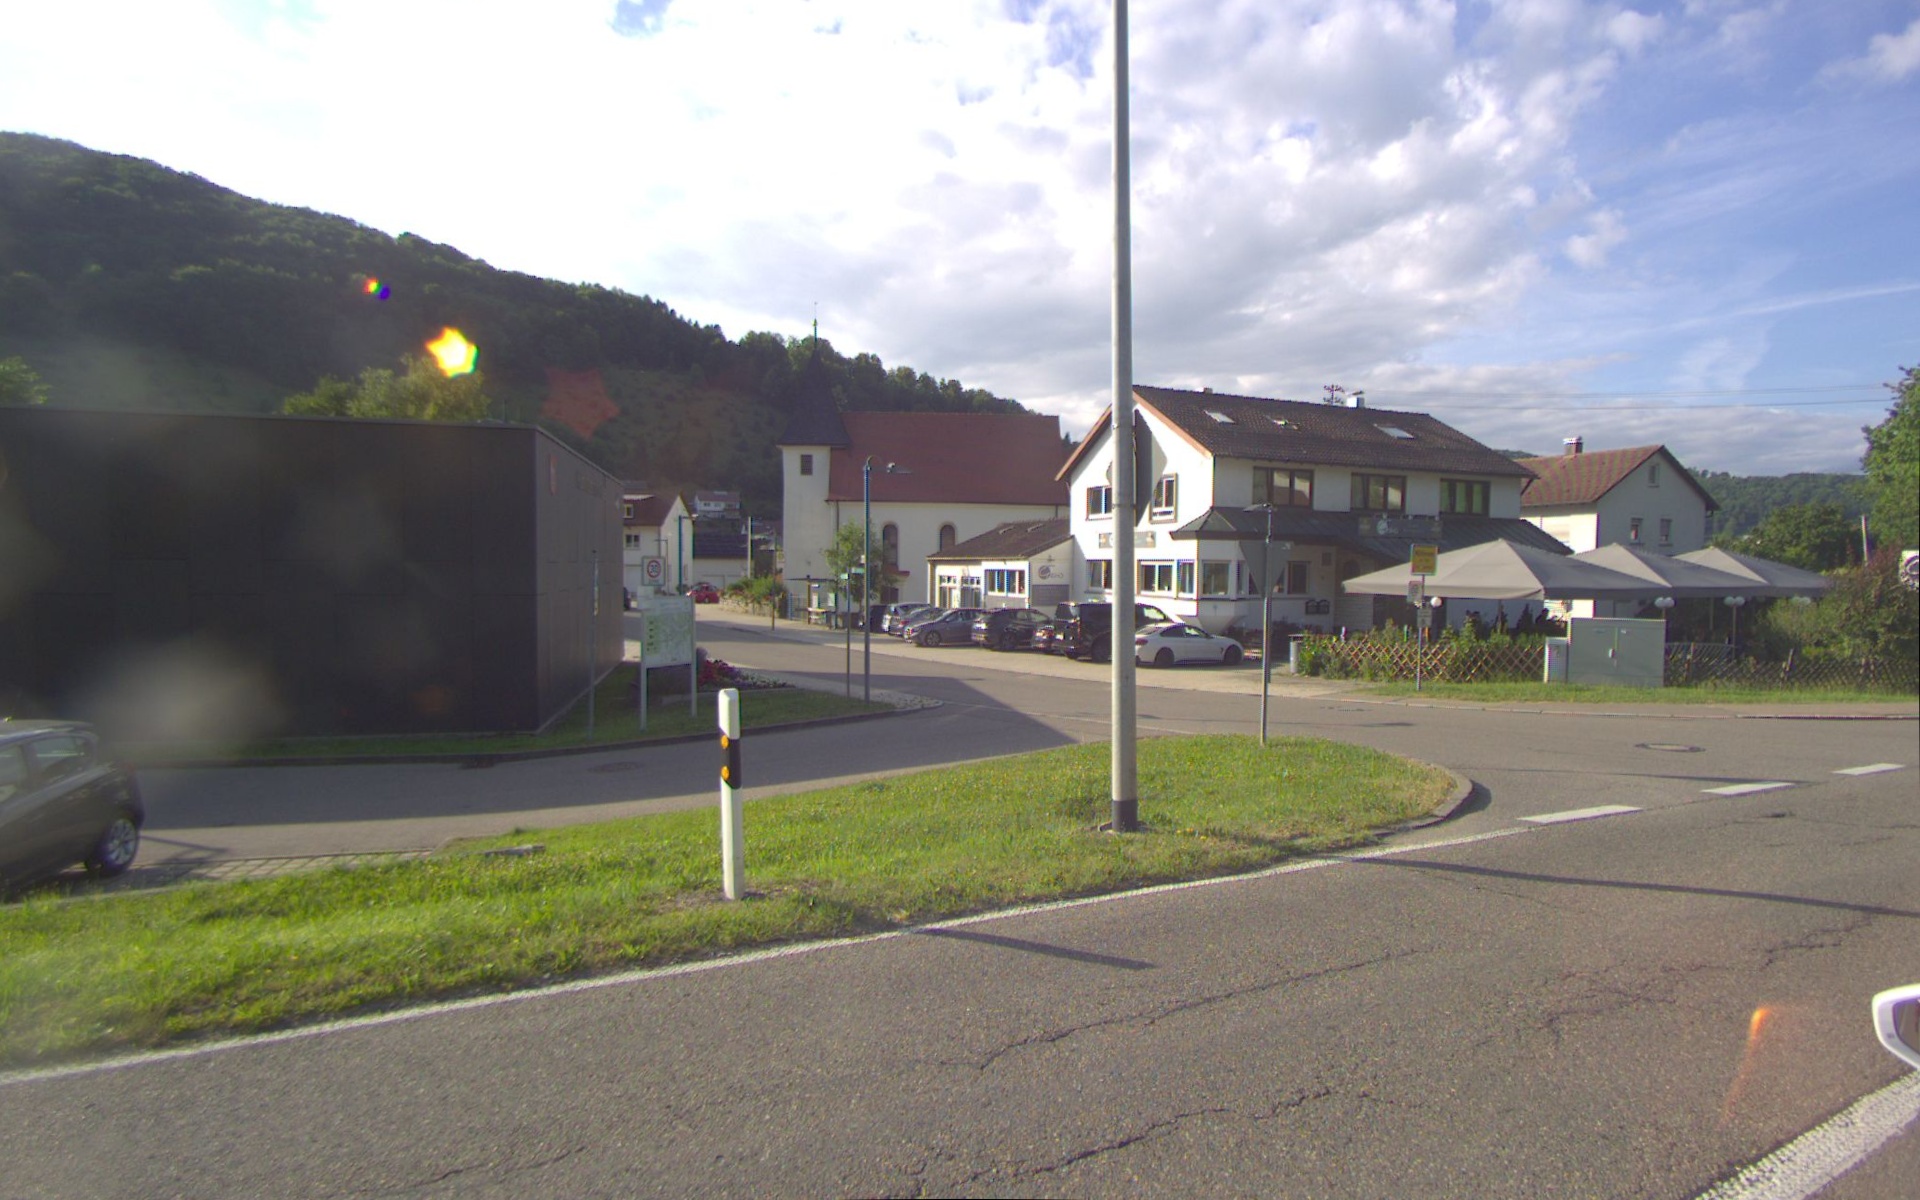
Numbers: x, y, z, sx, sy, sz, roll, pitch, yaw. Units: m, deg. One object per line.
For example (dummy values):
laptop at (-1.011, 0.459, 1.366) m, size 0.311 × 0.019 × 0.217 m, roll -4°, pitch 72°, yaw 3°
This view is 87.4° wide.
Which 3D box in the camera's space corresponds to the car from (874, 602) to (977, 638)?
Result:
car at (-1.652, 0.977, 48.087) m, size 4.518 × 1.665 × 1.986 m, roll 1°, pitch -1°, yaw -27°

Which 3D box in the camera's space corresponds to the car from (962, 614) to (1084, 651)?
car at (2.543, 1.281, 40.182) m, size 4.518 × 1.431 × 1.986 m, roll 1°, pitch -1°, yaw -27°

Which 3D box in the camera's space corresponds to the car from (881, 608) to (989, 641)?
car at (-1.110, 1.093, 45.489) m, size 4.518 × 1.431 × 1.986 m, roll 1°, pitch -1°, yaw -27°

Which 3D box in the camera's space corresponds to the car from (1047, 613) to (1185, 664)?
car at (5.465, 1.324, 35.134) m, size 4.518 × 1.707 × 1.986 m, roll 1°, pitch -1°, yaw -27°

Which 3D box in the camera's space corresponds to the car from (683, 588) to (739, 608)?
car at (-20.013, -0.141, 80.749) m, size 1.972 × 1.528 × 3.977 m, roll 1°, pitch 0°, yaw 43°

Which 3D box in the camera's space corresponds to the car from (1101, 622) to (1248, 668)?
car at (7.034, 1.448, 32.944) m, size 4.518 × 1.408 × 1.986 m, roll 1°, pitch -1°, yaw -27°

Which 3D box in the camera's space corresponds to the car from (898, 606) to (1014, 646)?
car at (-0.172, 1.098, 42.326) m, size 4.518 × 1.618 × 1.986 m, roll 1°, pitch -1°, yaw -27°

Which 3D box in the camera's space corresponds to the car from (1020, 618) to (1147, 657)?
car at (4.723, 1.419, 38.284) m, size 4.518 × 1.408 × 1.986 m, roll 1°, pitch -1°, yaw -27°

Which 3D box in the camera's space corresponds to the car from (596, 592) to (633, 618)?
car at (-23.500, 0.332, 68.241) m, size 1.867 × 1.706 × 3.974 m, roll 0°, pitch 0°, yaw -26°

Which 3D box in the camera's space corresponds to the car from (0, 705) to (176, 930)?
car at (-8.468, 1.804, 8.065) m, size 1.801 × 1.555 × 3.992 m, roll 1°, pitch -1°, yaw -12°
